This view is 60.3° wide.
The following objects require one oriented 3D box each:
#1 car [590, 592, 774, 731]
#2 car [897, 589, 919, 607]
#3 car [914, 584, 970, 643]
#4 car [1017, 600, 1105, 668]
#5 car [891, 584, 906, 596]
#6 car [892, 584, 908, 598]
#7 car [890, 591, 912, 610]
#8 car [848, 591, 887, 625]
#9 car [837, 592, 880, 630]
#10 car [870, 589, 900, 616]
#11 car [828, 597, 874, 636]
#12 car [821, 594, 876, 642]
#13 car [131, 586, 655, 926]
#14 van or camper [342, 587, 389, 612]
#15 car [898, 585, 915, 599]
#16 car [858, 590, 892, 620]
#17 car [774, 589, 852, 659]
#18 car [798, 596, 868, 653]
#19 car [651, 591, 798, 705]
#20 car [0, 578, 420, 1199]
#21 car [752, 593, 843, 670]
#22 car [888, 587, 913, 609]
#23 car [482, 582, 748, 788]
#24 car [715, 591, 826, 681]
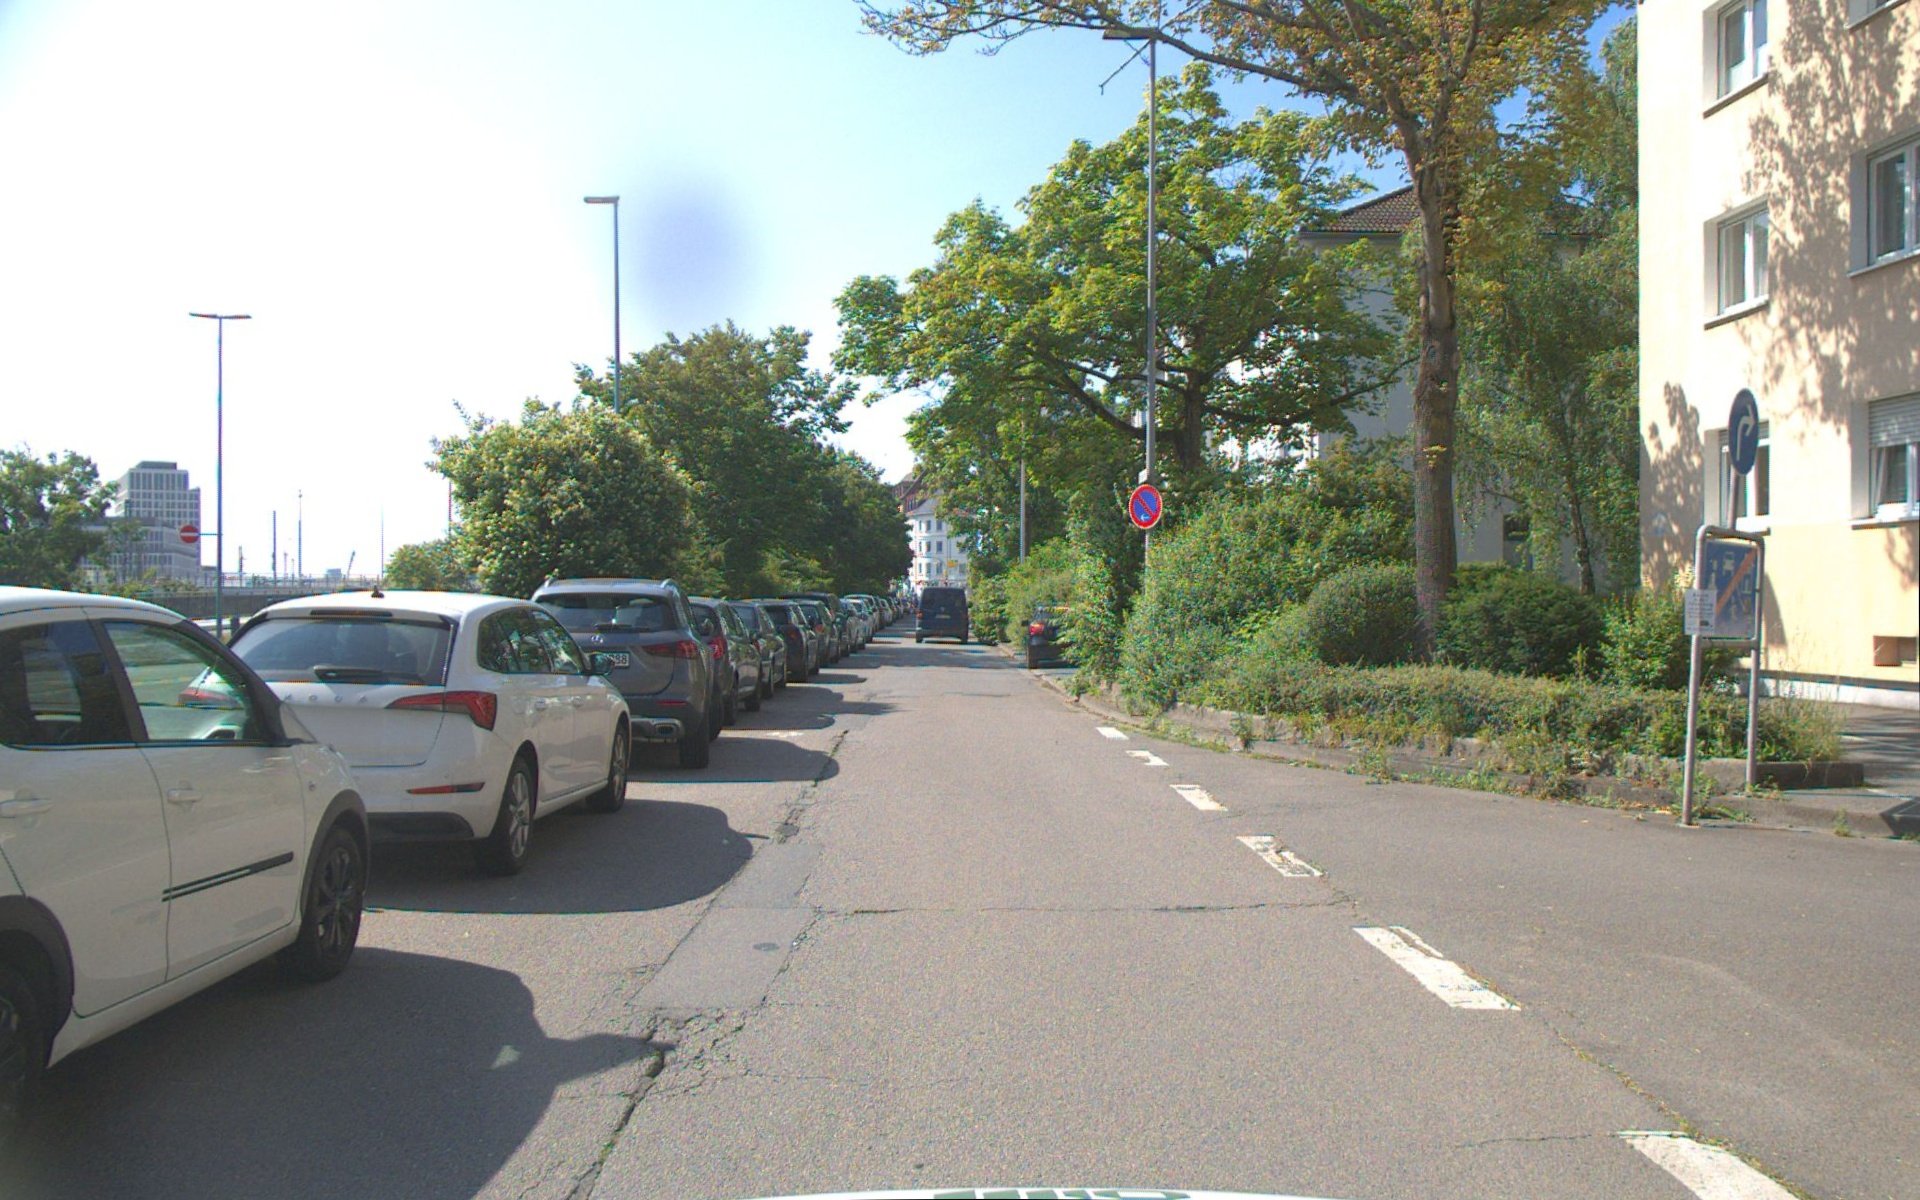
[{"bbox_3d":[-3.360,0.684,20.619,1.630,1.500,3.876,2,1,-1],"label":"car"},{"bbox_3d":[-4.795,-0.177,152.992,1.953,1.686,3.999,0,0,-2],"label":"car"},{"bbox_3d":[-0.635,0.443,58.505,1.844,1.955,4.008,2,1,-1],"label":"car"},{"bbox_3d":[2.290,0.744,38.241,1.691,1.445,3.999,-1,0,-1],"label":"car"},{"bbox_3d":[-8.234,-1.344,220.855,1.953,1.686,3.739,0,0,-2],"label":"car"},{"bbox_3d":[-7.564,-1.119,207.811,1.953,1.686,3.999,0,0,-2],"label":"car"},{"bbox_3d":[-5.094,0.025,143.184,1.953,1.686,3.999,0,0,-2],"label":"car"},{"bbox_3d":[-4.398,0.365,78.867,1.630,1.536,4.008,2,1,-1],"label":"car"},{"bbox_3d":[-4.475,0.457,73.353,1.630,1.536,4.008,2,1,-1],"label":"car"},{"bbox_3d":[-4.546,0.119,100.947,1.630,1.536,4.008,2,1,-1],"label":"car"},{"bbox_3d":[-4.439,0.656,67.861,1.630,1.536,4.200,0,0,-1],"label":"car"},{"bbox_3d":[-3.820,0.591,57.260,1.630,1.494,4.200,2,1,-1],"label":"car"},{"bbox_3d":[-3.048,0.718,9.851,1.686,1.531,4.132,2,1,-1],"label":"car"},{"bbox_3d":[-33.493,-0.037,93.284,1.439,1.373,4.624,0,1,-7],"label":"van or camper"},{"bbox_3d":[-6.320,-0.940,195.815,1.953,1.686,3.999,0,0,-2],"label":"car"},{"bbox_3d":[-4.617,0.251,90.009,1.630,1.536,4.008,2,1,-1],"label":"car"},{"bbox_3d":[-3.647,0.561,41.601,1.630,1.611,3.931,0,1,-1],"label":"car"},{"bbox_3d":[-3.555,0.647,46.791,1.630,1.431,4.319,2,1,-1],"label":"car"},{"bbox_3d":[-3.586,0.668,25.854,1.630,1.538,4.594,2,1,-1],"label":"car"},{"bbox_3d":[-3.074,0.705,5.256,1.586,1.531,3.461,1,1,-1],"label":"car"},{"bbox_3d":[-3.582,0.662,36.944,1.630,1.538,3.789,2,1,-1],"label":"car"},{"bbox_3d":[-4.218,-0.160,117.683,1.630,1.536,4.008,0,0,-1],"label":"car"},{"bbox_3d":[-3.025,0.657,15.323,1.736,1.607,4.184,-1,1,-3],"label":"car"},{"bbox_3d":[-3.484,0.629,31.007,1.630,1.499,3.789,2,1,-1],"label":"car"}]
